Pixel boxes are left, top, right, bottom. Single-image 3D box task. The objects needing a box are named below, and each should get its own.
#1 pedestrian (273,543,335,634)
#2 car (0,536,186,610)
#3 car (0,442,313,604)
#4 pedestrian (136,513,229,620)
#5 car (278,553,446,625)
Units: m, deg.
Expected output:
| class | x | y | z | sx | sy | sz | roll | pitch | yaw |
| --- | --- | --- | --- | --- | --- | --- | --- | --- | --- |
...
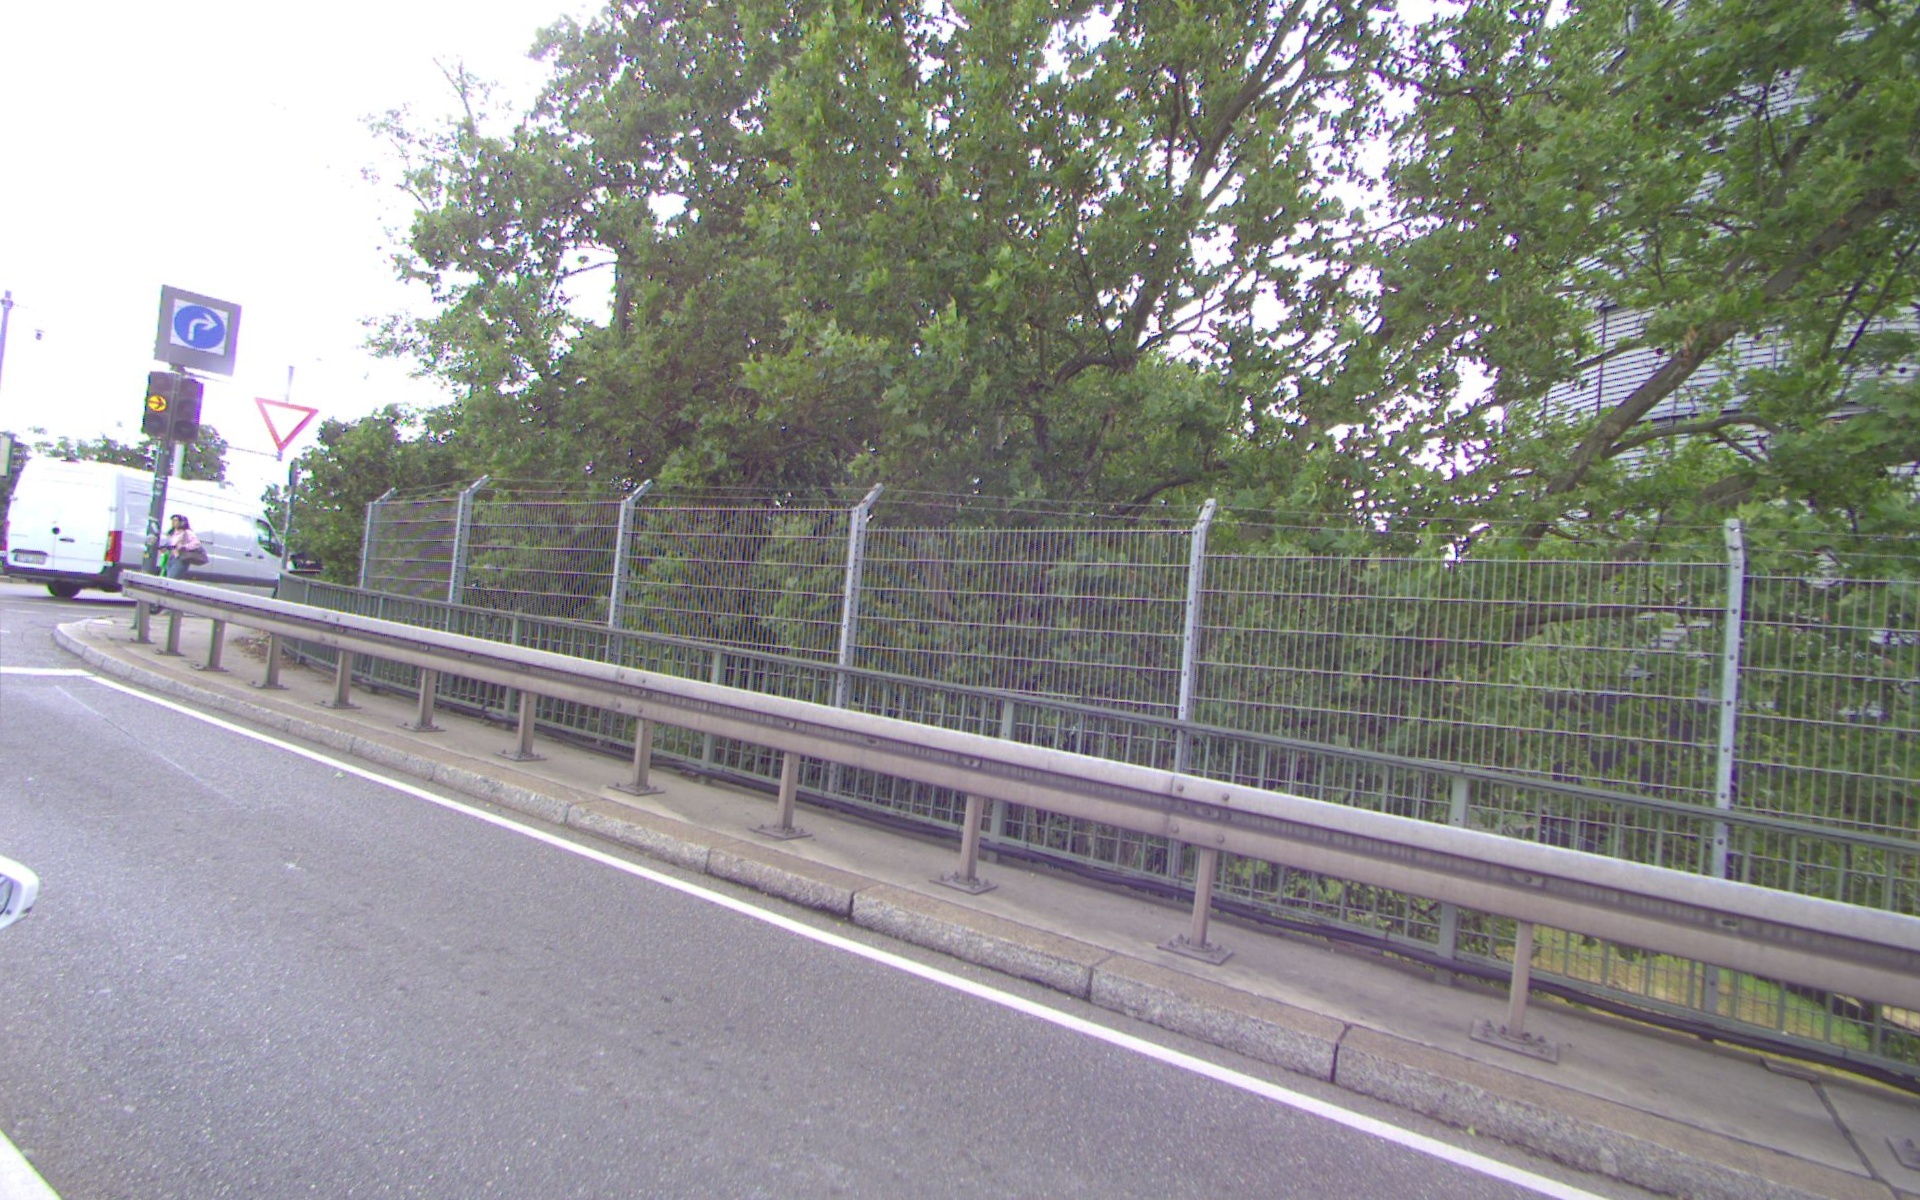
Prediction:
| class | x | y | z | sx | sy | sz | roll | pitch | yaw |
| --- | --- | --- | --- | --- | --- | --- | --- | --- | --- |
| pedestrian | -12.733 | -0.225 | 19.556 | 0.775 | 1.639 | 0.672 | 7 | 0 | -28 |
| car | -30.235 | -0.929 | 34.694 | 5.180 | 1.792 | 1.991 | 8 | -1 | -28 |
| car | -16.948 | -1.406 | 21.763 | 2.079 | 2.819 | 6.772 | 4 | 0 | -7 |
| pedestrian | -13.241 | -0.567 | 17.145 | 0.963 | 1.698 | 0.834 | 4 | -2 | 29 |
| car | -18.504 | -0.306 | 31.280 | 1.784 | 1.684 | 3.991 | 7 | -1 | 34 |
